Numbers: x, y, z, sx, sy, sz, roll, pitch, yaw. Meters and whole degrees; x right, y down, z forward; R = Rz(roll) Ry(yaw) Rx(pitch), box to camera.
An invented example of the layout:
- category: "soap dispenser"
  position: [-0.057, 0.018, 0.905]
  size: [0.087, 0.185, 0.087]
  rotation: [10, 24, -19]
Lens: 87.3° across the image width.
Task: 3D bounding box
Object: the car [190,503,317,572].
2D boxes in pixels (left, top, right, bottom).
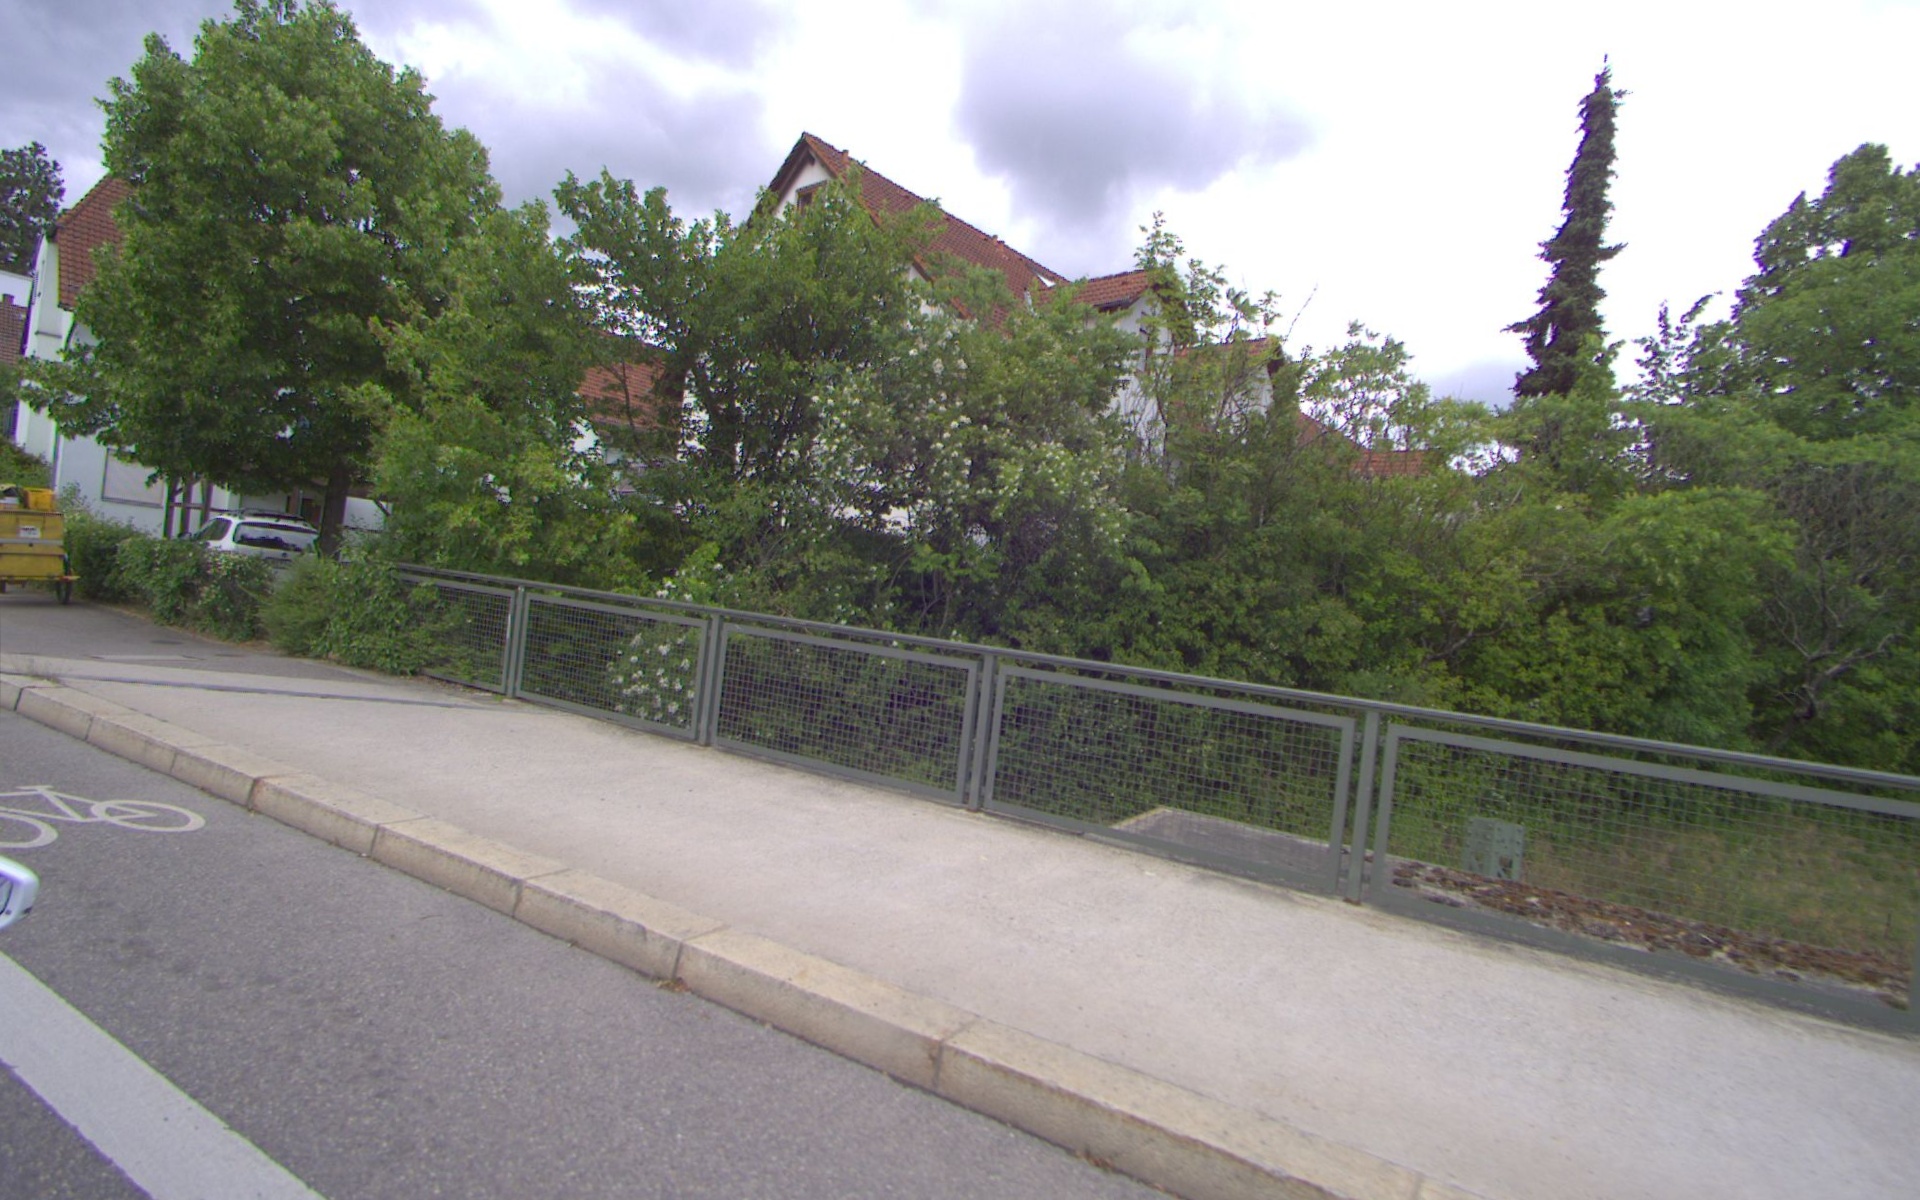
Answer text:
- category: "car"
  position: [-18.881, -1.676, 26.815]
  size: [3.941, 1.467, 1.666]
  rotation: [6, 0, 39]

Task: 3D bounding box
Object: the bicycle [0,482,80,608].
- category: "bicycle"
  position: [-12.643, -0.787, 13.350]
  size: [2.740, 1.532, 0.890]
  rotation: [7, 4, 36]

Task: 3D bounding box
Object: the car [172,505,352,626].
- category: "car"
  position: [-11.771, -0.631, 16.866]
  size: [4.006, 1.522, 1.666]
  rotation: [8, 0, 45]
